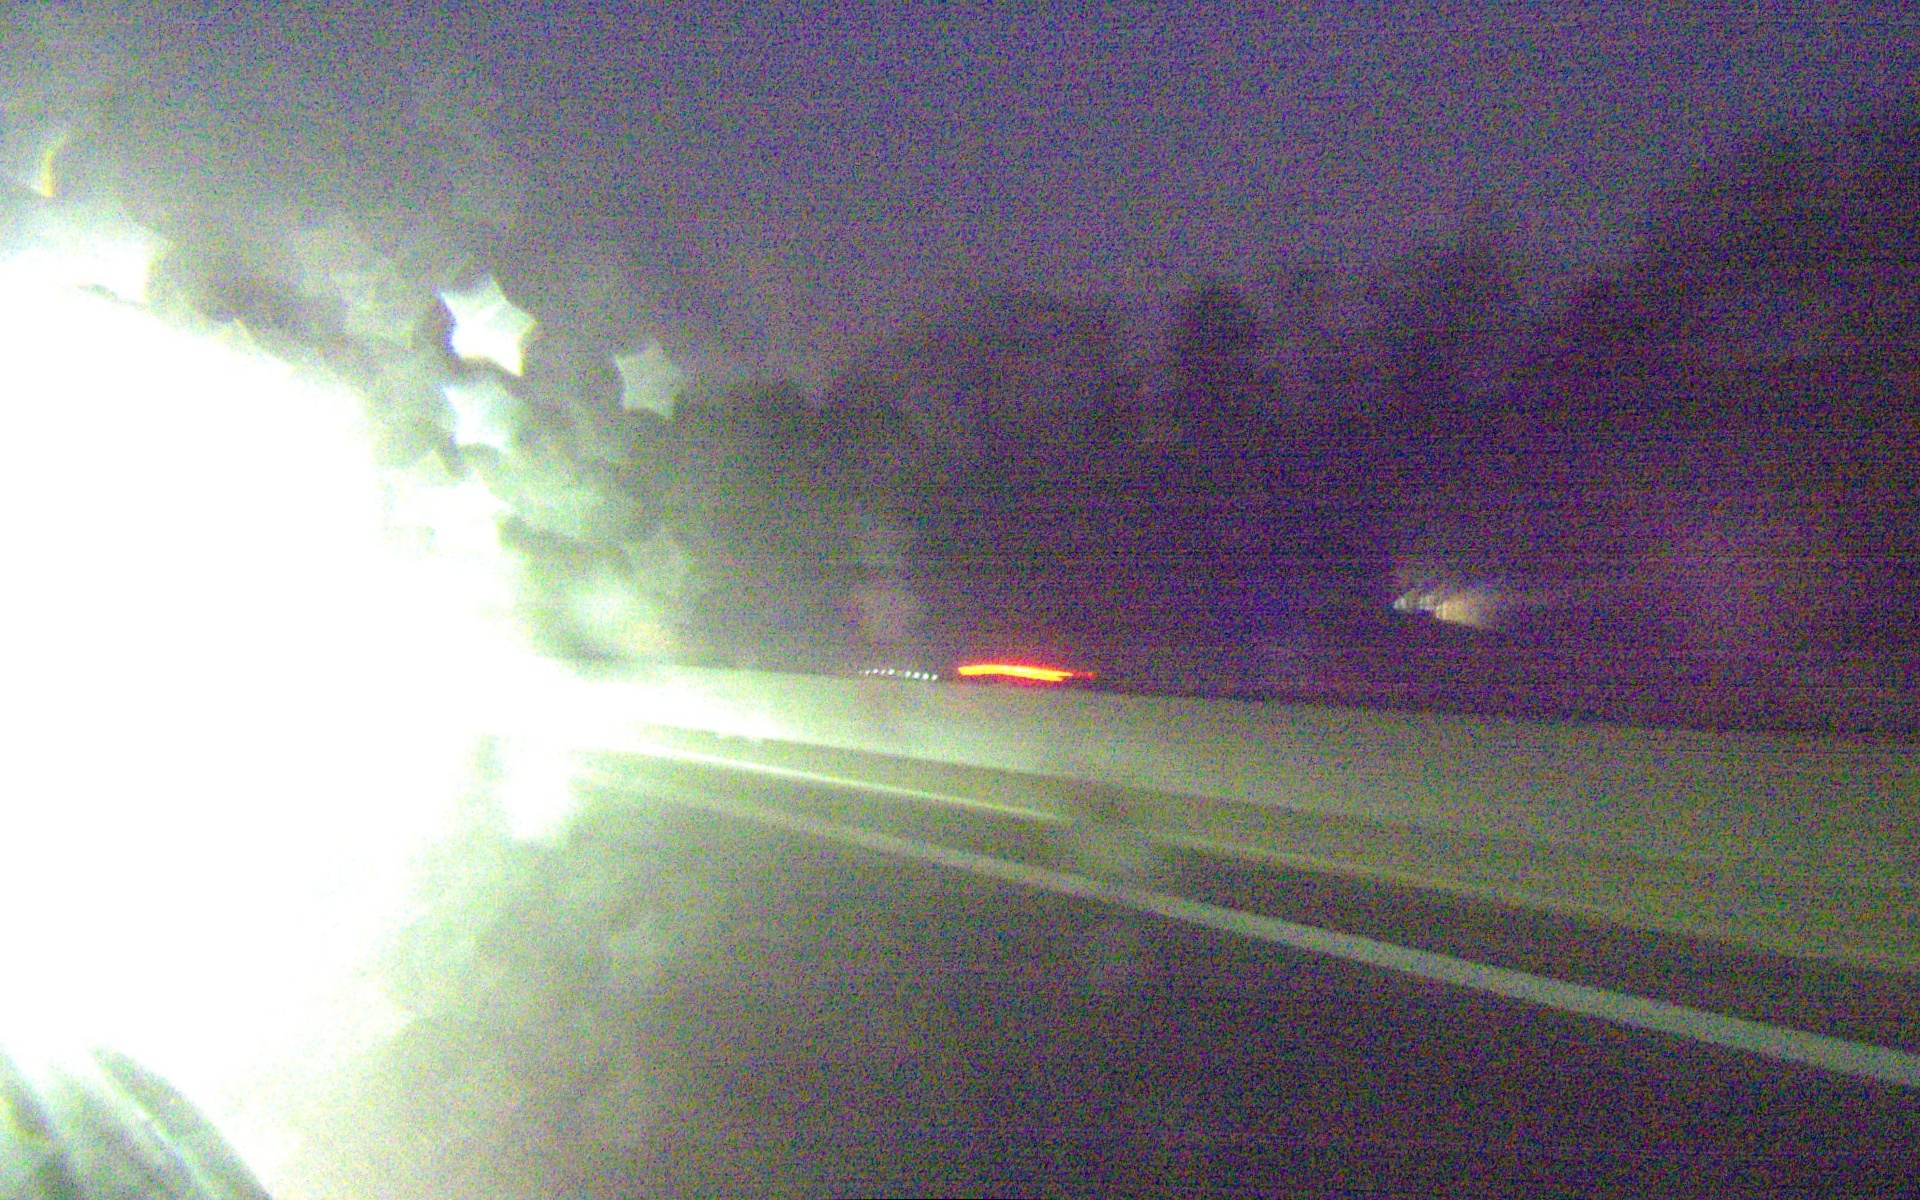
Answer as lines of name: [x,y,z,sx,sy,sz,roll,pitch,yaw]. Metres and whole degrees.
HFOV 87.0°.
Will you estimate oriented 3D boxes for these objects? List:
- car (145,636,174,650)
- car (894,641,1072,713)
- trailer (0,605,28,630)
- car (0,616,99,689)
car: [-91.387,4.877,115.518,3.999,1.497,1.973,-2,0,42]
car: [0.515,1.801,24.659,3.999,1.497,1.973,-2,0,42]
trailer: [-182.049,3.402,193.808,13.957,4.659,4.122,-1,-3,43]
car: [-22.250,1.212,24.182,2.277,1.622,3.874,3,-3,-44]
